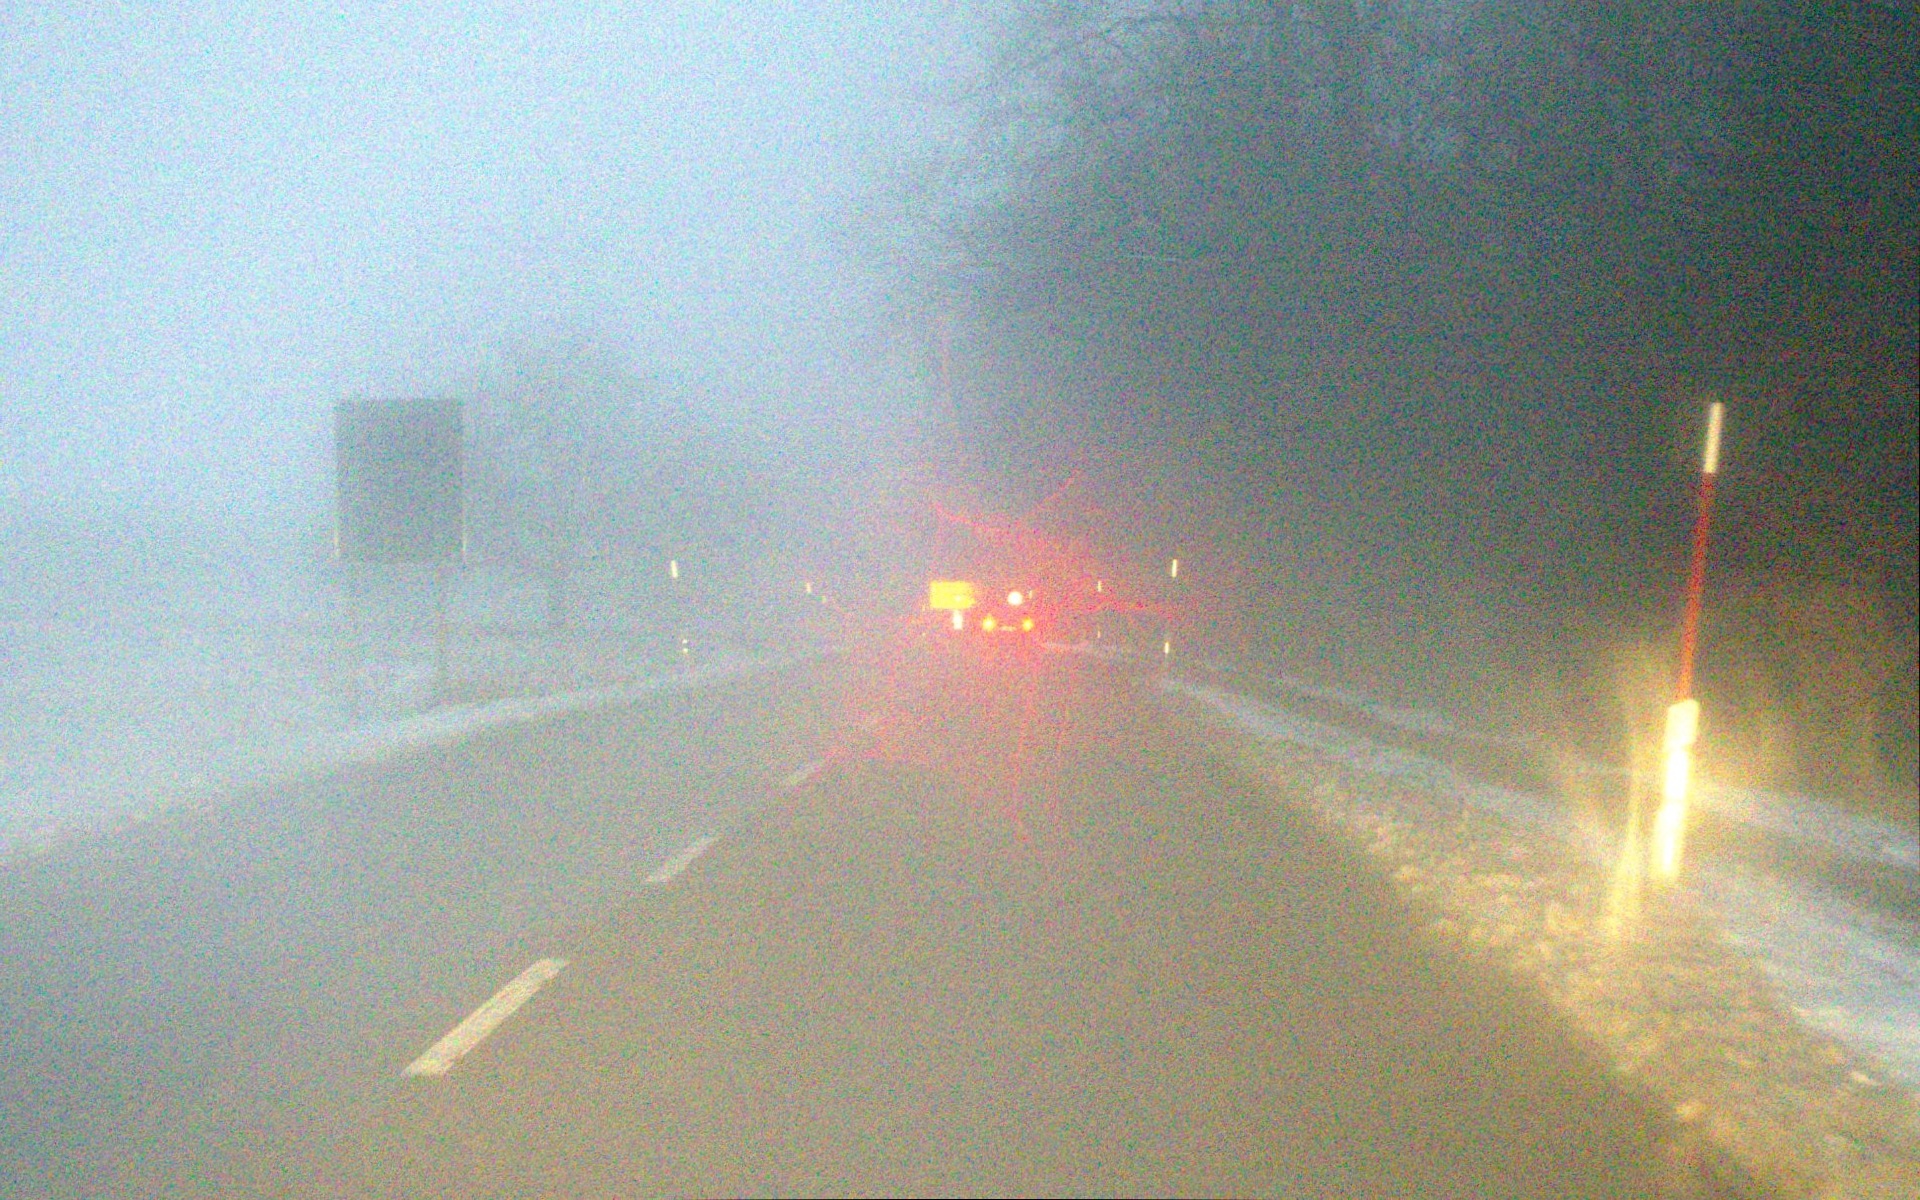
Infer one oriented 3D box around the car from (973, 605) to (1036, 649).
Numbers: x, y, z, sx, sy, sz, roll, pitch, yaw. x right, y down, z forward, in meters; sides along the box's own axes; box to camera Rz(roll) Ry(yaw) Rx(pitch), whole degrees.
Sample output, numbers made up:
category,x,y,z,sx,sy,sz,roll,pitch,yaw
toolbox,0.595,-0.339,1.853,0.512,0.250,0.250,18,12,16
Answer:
category,x,y,z,sx,sy,sz,roll,pitch,yaw
car,1.461,0.891,114.719,1.993,1.415,4.000,0,0,-1
